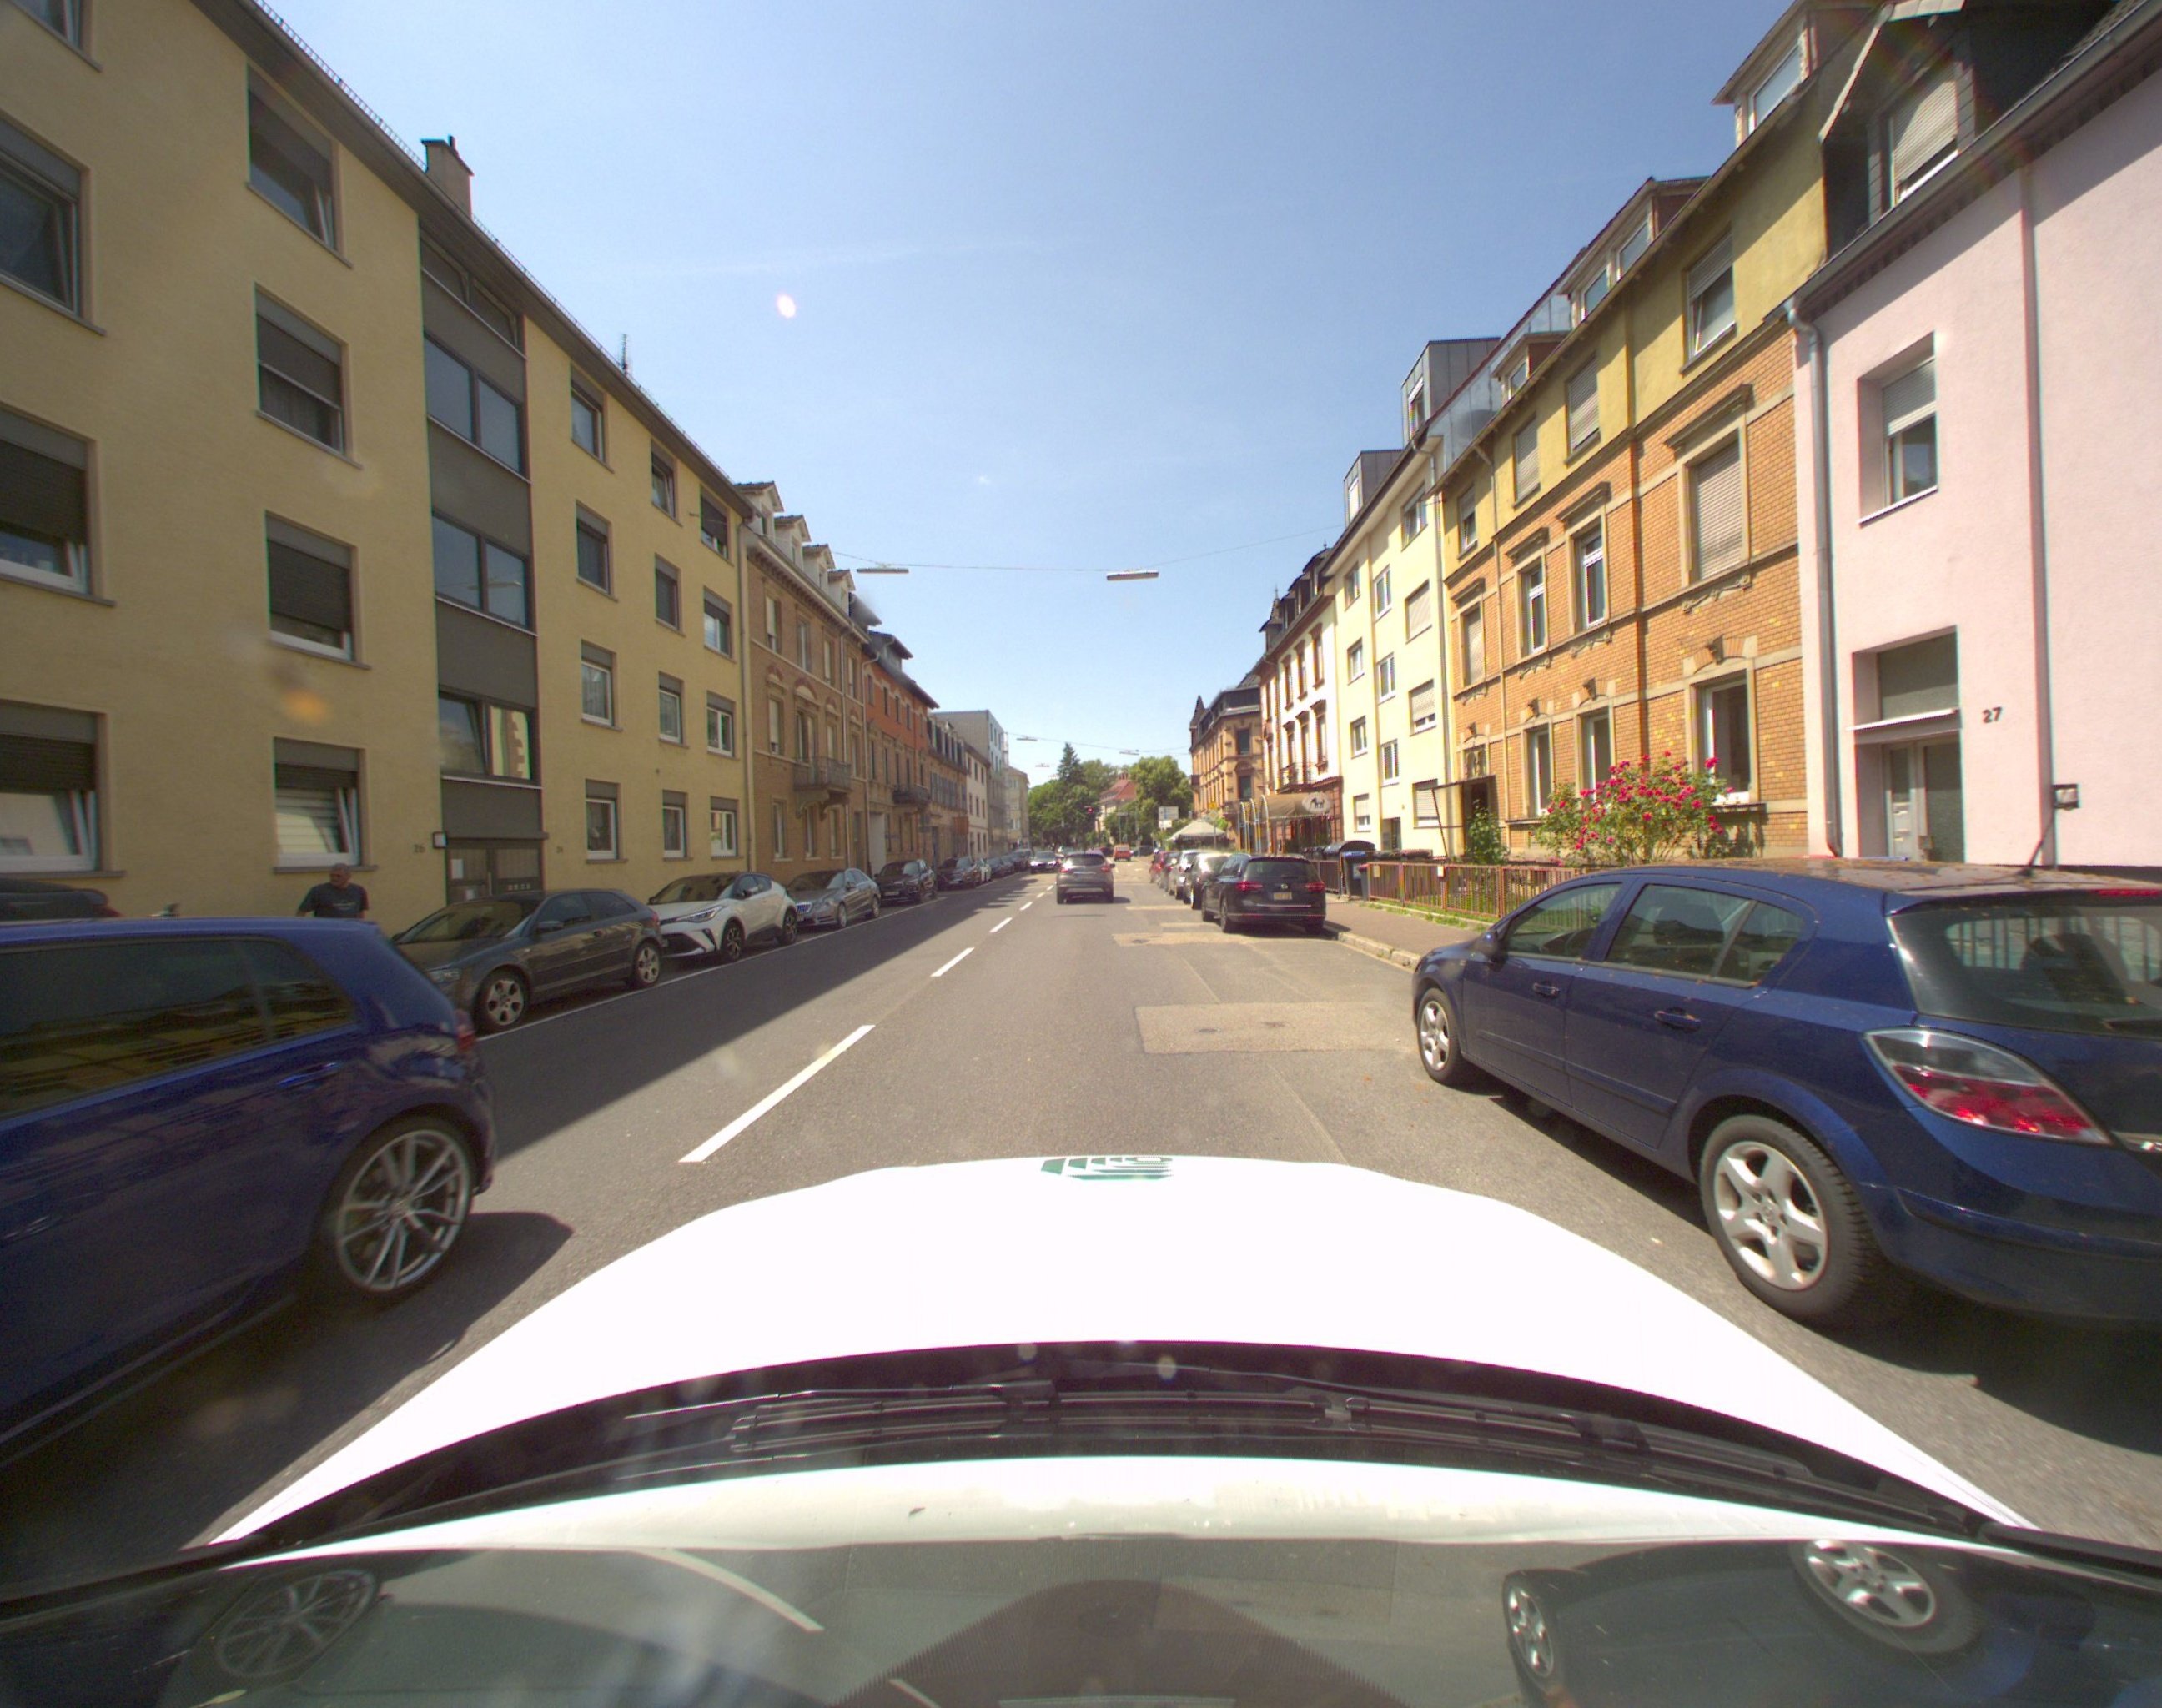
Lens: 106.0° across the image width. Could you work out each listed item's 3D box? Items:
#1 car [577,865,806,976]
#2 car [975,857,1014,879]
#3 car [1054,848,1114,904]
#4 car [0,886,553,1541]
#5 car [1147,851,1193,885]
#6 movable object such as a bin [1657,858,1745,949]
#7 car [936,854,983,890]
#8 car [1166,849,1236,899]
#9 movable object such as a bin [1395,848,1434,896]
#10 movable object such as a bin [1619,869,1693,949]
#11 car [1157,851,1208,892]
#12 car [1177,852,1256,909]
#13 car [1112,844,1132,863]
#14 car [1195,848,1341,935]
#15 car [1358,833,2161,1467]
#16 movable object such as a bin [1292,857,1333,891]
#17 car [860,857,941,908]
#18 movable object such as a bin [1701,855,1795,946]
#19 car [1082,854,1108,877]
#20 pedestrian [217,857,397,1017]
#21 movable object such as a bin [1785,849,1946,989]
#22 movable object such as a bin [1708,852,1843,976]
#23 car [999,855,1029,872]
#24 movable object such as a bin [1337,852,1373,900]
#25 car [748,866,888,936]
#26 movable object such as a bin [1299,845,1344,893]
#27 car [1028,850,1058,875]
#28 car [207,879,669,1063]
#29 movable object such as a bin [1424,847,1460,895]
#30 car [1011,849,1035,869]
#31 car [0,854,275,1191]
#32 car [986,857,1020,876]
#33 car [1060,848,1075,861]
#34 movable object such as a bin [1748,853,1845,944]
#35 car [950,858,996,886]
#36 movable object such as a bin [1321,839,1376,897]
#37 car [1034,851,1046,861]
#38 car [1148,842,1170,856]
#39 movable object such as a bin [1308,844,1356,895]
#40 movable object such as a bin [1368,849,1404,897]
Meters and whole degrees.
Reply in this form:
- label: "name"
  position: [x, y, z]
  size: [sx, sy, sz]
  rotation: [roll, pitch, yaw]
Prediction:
- label: "car"
  position: [-6.681, 1.044, 14.598]
  size: [1.898, 1.510, 4.302]
  rotation: [-4, 0, 0]
- label: "car"
  position: [-5.862, 0.935, 55.426]
  size: [1.897, 1.291, 4.306]
  rotation: [-3, 0, 3]
- label: "car"
  position: [0.115, 0.638, 26.136]
  size: [1.738, 1.616, 4.000]
  rotation: [-2, 0, 0]
- label: "car"
  position: [-3.343, 0.878, 1.667]
  size: [1.810, 1.388, 4.000]
  rotation: [-3, 0, 1]
- label: "car"
  position: [4.064, 0.617, 37.508]
  size: [1.607, 1.443, 3.434]
  rotation: [-2, 0, -2]
- label: "movable object such as a bin"
  position: [7.517, 0.585, 9.899]
  size: [0.526, 1.032, 0.667]
  rotation: [-3, 0, 0]
- label: "car"
  position: [-6.190, 0.899, 41.886]
  size: [1.901, 1.619, 4.297]
  rotation: [-4, 0, -3]
- label: "car"
  position: [3.912, 0.612, 27.169]
  size: [1.853, 1.553, 4.002]
  rotation: [0, 0, 2]
- label: "movable object such as a bin"
  position: [8.436, 0.443, 20.633]
  size: [0.665, 1.177, 0.852]
  rotation: [-1, 0, 3]
- label: "movable object such as a bin"
  position: [7.007, 0.654, 9.945]
  size: [0.466, 0.912, 0.564]
  rotation: [-3, 0, 0]
- label: "car"
  position: [3.897, 0.644, 31.800]
  size: [1.605, 1.461, 3.506]
  rotation: [-2, 0, 1]
- label: "car"
  position: [3.718, 0.667, 22.920]
  size: [1.653, 1.441, 4.002]
  rotation: [-1, 0, 2]
- label: "car"
  position: [4.793, -0.076, 94.938]
  size: [1.988, 2.013, 4.464]
  rotation: [-3, 0, -1]
- label: "car"
  position: [3.510, 0.634, 16.170]
  size: [1.854, 1.465, 4.618]
  rotation: [0, 0, 0]
- label: "car"
  position: [3.060, 0.683, 4.235]
  size: [1.690, 1.487, 4.618]
  rotation: [0, 0, 0]
- label: "movable object such as a bin"
  position: [7.323, 0.624, 25.769]
  size: [1.038, 1.023, 0.992]
  rotation: [-1, 0, 3]
- label: "car"
  position: [-6.584, 0.992, 30.190]
  size: [1.899, 1.619, 4.301]
  rotation: [-4, 0, 0]
- label: "movable object such as a bin"
  position: [8.087, 0.548, 9.900]
  size: [0.557, 1.050, 0.667]
  rotation: [-3, 0, -1]
- label: "car"
  position: [1.035, 0.839, 62.709]
  size: [1.807, 1.620, 4.439]
  rotation: [-4, 0, -1]
- label: "pedestrian"
  position: [-9.210, 0.942, 9.754]
  size: [0.962, 1.750, 1.156]
  rotation: [-2, 0, 3]
- label: "movable object such as a bin"
  position: [6.516, 0.515, 6.801]
  size: [0.649, 1.083, 0.684]
  rotation: [-2, 0, 4]
- label: "movable object such as a bin"
  position: [6.491, 0.539, 7.647]
  size: [0.649, 1.083, 0.684]
  rotation: [-2, 0, 4]
- label: "car"
  position: [-5.548, 0.782, 67.764]
  size: [1.897, 1.291, 4.304]
  rotation: [-3, 0, 2]
- label: "movable object such as a bin"
  position: [6.916, 0.543, 20.617]
  size: [0.635, 1.177, 0.912]
  rotation: [-1, 0, 3]
- label: "car"
  position: [-6.584, 1.112, 20.994]
  size: [1.898, 1.401, 4.755]
  rotation: [-4, 0, 1]
- label: "movable object such as a bin"
  position: [7.256, 0.428, 24.636]
  size: [1.038, 1.402, 1.255]
  rotation: [-1, 0, 3]
- label: "car"
  position: [-2.774, 0.584, 59.967]
  size: [1.933, 1.626, 4.000]
  rotation: [-4, 0, 0]
- label: "car"
  position: [-6.768, 1.108, 9.296]
  size: [1.898, 1.379, 4.062]
  rotation: [-4, 0, 1]
- label: "movable object such as a bin"
  position: [9.135, 0.423, 20.631]
  size: [0.635, 1.177, 0.627]
  rotation: [-1, 0, 3]
- label: "car"
  position: [-5.788, 0.465, 81.958]
  size: [1.897, 1.821, 4.304]
  rotation: [-3, 0, 2]
- label: "car"
  position: [-6.637, 0.932, 3.136]
  size: [1.889, 1.637, 4.579]
  rotation: [-4, 0, 18]
- label: "car"
  position: [-5.793, 0.896, 61.274]
  size: [1.897, 1.291, 4.305]
  rotation: [-3, 0, 3]
- label: "car"
  position: [-1.723, 0.037, 104.923]
  size: [1.786, 1.626, 3.740]
  rotation: [-2, 0, -2]
- label: "movable object such as a bin"
  position: [8.682, 0.523, 9.905]
  size: [0.557, 1.050, 0.667]
  rotation: [-3, 0, -1]
- label: "car"
  position: [-6.207, 1.003, 47.401]
  size: [1.898, 1.357, 4.303]
  rotation: [-4, 0, 1]
- label: "movable object such as a bin"
  position: [7.203, 0.365, 22.007]
  size: [1.038, 1.518, 1.447]
  rotation: [-1, 0, 3]
- label: "car"
  position: [-7.184, 0.409, 142.965]
  size: [1.783, 1.626, 3.746]
  rotation: [-2, 0, 3]
- label: "car"
  position: [8.821, -0.589, 91.909]
  size: [1.884, 1.508, 3.958]
  rotation: [-3, 0, 14]
- label: "movable object such as a bin"
  position: [7.192, 0.422, 23.379]
  size: [1.038, 1.402, 1.255]
  rotation: [-1, 0, 3]
- label: "movable object such as a bin"
  position: [7.725, 0.463, 20.648]
  size: [0.635, 1.186, 0.852]
  rotation: [-1, 0, 3]
